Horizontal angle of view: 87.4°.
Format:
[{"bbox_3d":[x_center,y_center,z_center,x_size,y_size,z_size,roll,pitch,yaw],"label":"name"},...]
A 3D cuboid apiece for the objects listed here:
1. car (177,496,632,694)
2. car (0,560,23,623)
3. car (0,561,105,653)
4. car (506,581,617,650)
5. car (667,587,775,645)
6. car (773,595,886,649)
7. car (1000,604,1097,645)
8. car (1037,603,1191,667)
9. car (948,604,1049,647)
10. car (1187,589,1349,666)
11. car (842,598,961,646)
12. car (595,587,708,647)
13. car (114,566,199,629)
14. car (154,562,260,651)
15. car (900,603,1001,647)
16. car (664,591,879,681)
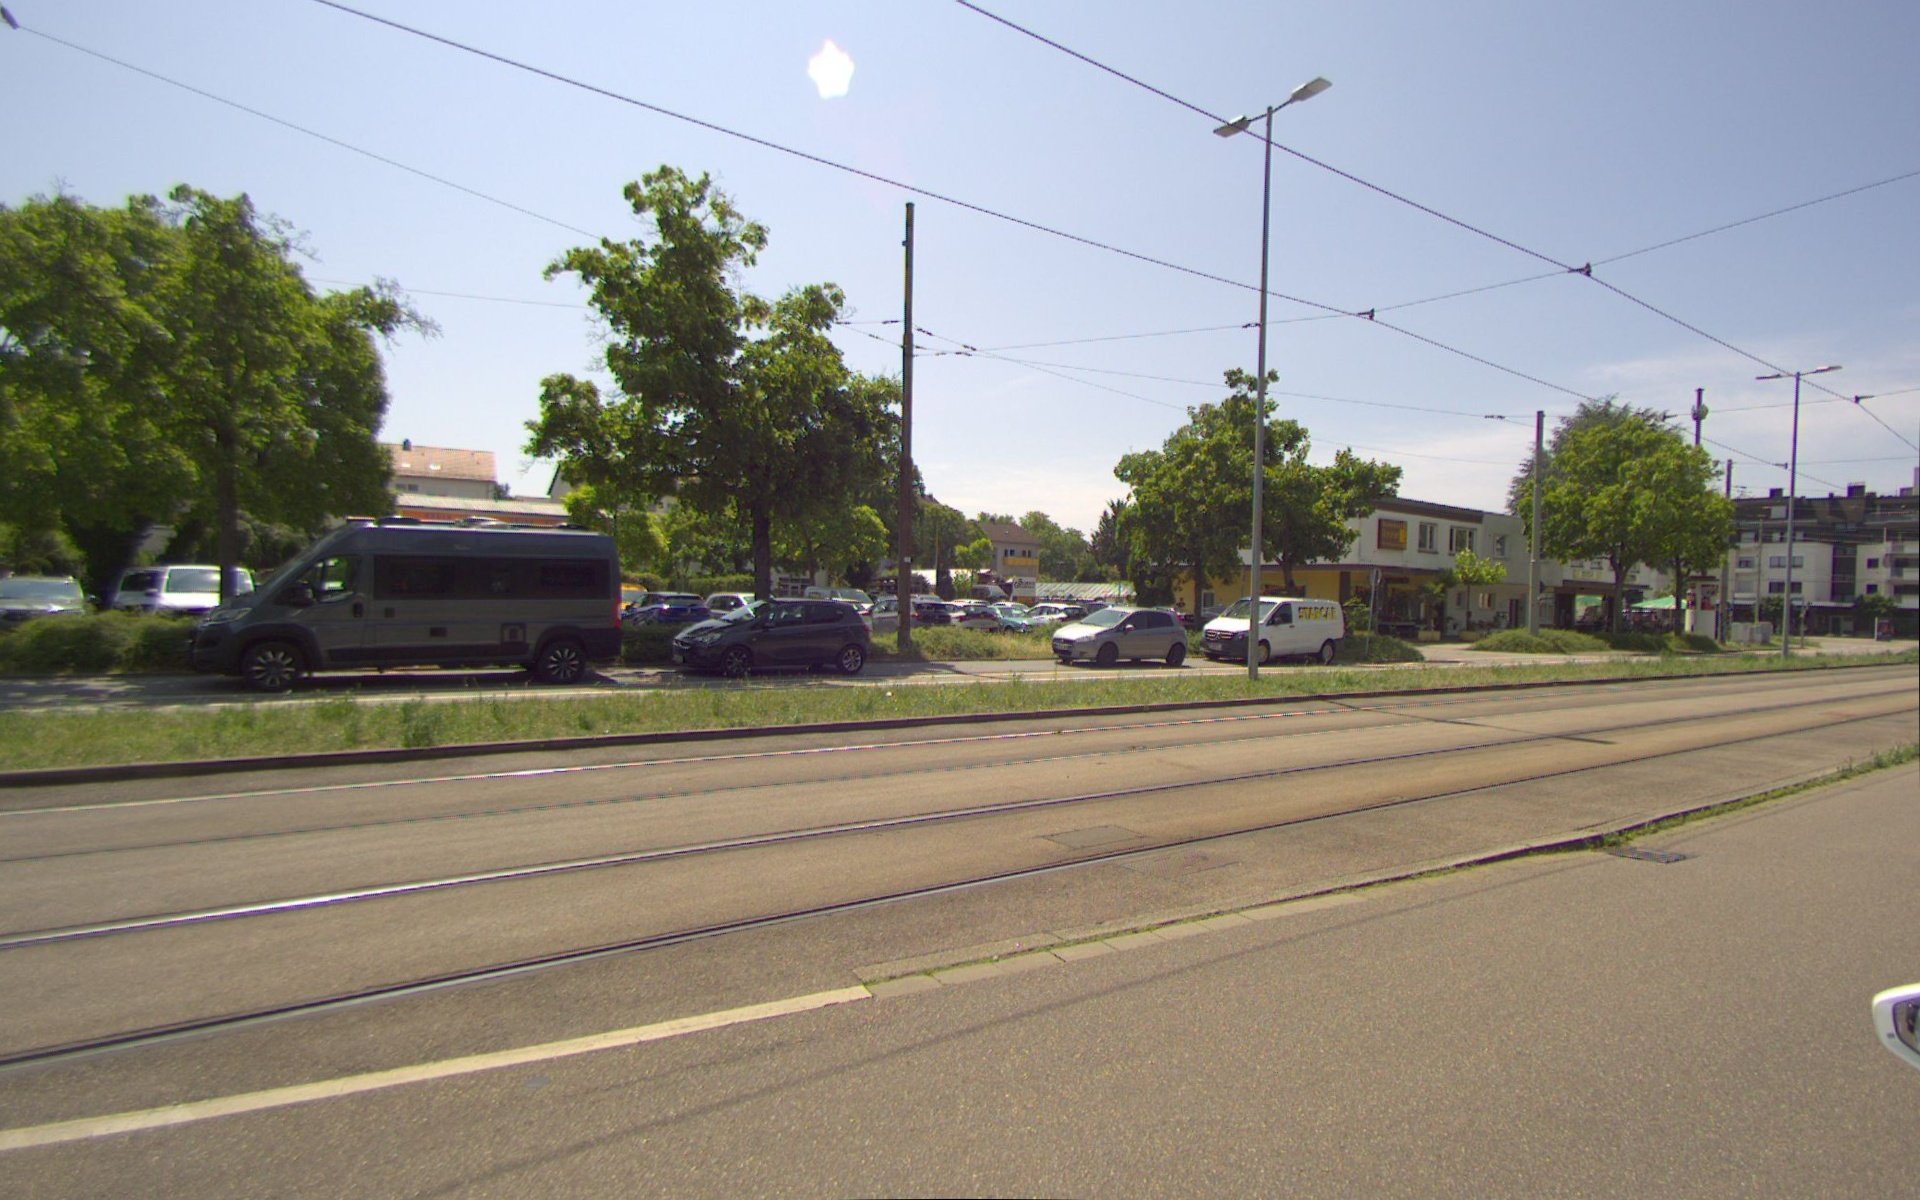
[{"bbox_3d":[-8.841,-0.092,16.418,6.115,2.692,2.381,1,4,-37],"label":"car"},{"bbox_3d":[-29.563,-0.279,29.932,1.760,1.845,4.101,1,1,-34],"label":"car"},{"bbox_3d":[-19.535,0.116,21.335,1.840,1.789,4.178,1,0,-37],"label":"car"},{"bbox_3d":[-11.561,0.391,28.953,1.780,1.838,4.683,1,0,-37],"label":"car"},{"bbox_3d":[-7.434,0.446,30.920,1.778,1.624,4.351,1,0,-35],"label":"car"},{"bbox_3d":[-4.381,0.697,33.254,1.780,1.624,4.346,1,0,-37],"label":"car"},{"bbox_3d":[3.410,0.943,39.407,1.631,1.450,3.833,1,0,-37],"label":"car"},{"bbox_3d":[4.008,0.891,26.022,3.827,1.439,1.621,2,2,-34],"label":"car"},{"bbox_3d":[1.363,0.899,36.914,1.631,1.450,3.833,1,0,-37],"label":"car"},{"bbox_3d":[9.234,0.806,29.943,5.116,1.992,1.862,1,4,-37],"label":"car"},{"bbox_3d":[-2.045,0.711,34.106,1.958,1.450,3.966,1,0,-43],"label":"car"},{"bbox_3d":[-9.164,0.454,29.590,1.780,1.624,4.346,1,0,-37],"label":"car"},{"bbox_3d":[-25.280,-0.127,31.727,1.760,1.845,4.101,1,1,-34],"label":"car"},{"bbox_3d":[-17.329,0.128,23.133,1.780,1.838,4.683,1,0,-37],"label":"car"},{"bbox_3d":[-0.389,0.863,35.977,1.631,1.450,3.833,1,0,-37],"label":"car"},{"bbox_3d":[-3.667,0.692,19.927,3.986,1.543,1.302,1,4,-37],"label":"car"}]
